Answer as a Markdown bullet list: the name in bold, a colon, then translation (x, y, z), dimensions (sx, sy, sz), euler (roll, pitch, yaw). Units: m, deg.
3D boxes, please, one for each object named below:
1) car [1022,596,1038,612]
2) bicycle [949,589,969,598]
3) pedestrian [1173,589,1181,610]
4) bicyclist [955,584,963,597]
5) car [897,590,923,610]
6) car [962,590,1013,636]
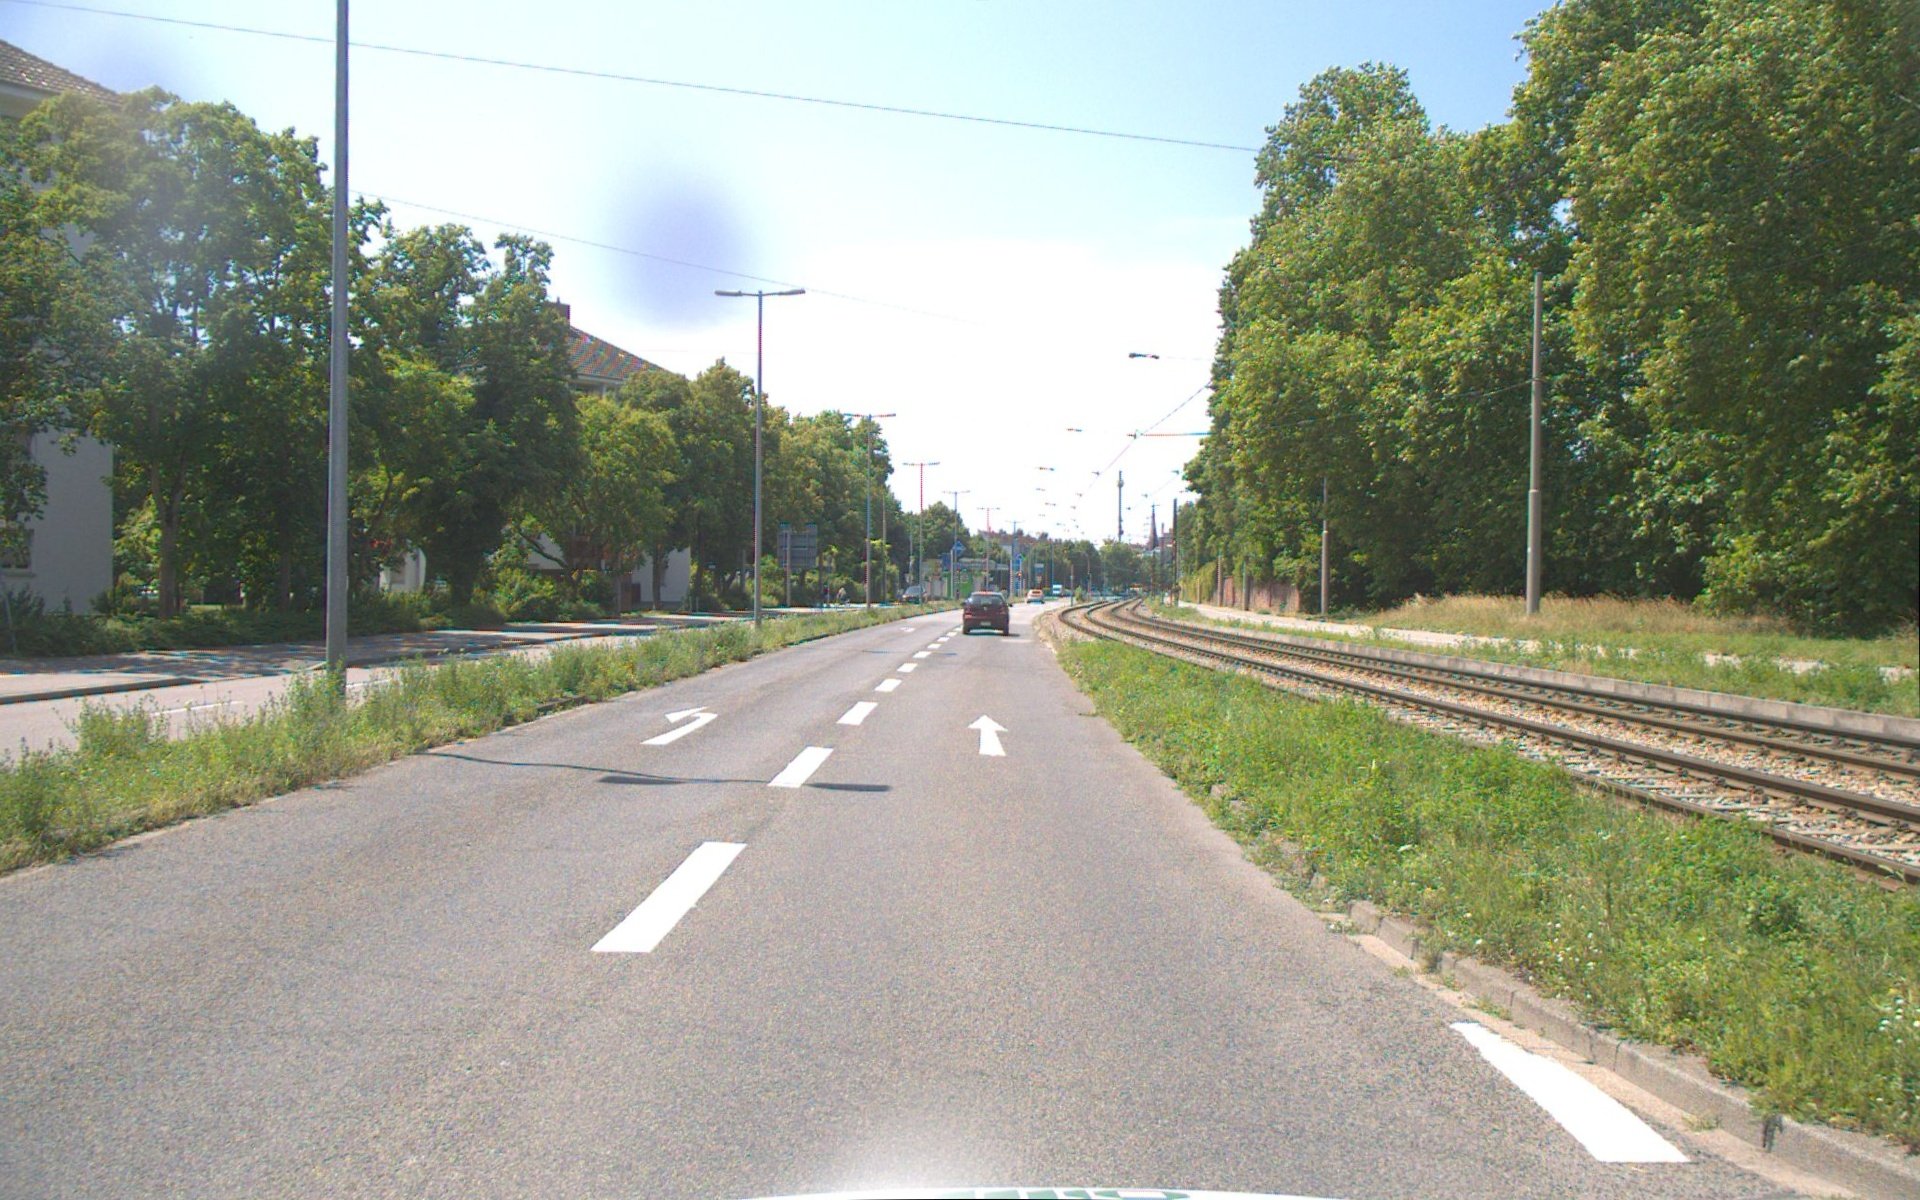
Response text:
- **car**: translation (7.608, 0.432, 179.683), dimensions (1.668, 1.506, 3.717), euler (4, 0, 1)
- **bicycle**: translation (-0.129, -0.827, 216.769), dimensions (2.502, 1.056, 1.086), euler (2, -1, -8)
- **pedestrian**: translation (17.858, -0.022, 136.301), dimensions (0.647, 1.756, 0.817), euler (0, 0, 5)
- **bicyclist**: translation (-0.165, -1.283, 216.796), dimensions (0.926, 1.621, 1.086), euler (2, -1, -7)
- **car**: translation (-4.226, 0.030, 140.934), dimensions (1.883, 1.654, 4.758), euler (-1, 0, 2)
- **car**: translation (0.940, 0.459, 58.286), dimensions (1.668, 1.503, 3.716), euler (2, -1, 0)
